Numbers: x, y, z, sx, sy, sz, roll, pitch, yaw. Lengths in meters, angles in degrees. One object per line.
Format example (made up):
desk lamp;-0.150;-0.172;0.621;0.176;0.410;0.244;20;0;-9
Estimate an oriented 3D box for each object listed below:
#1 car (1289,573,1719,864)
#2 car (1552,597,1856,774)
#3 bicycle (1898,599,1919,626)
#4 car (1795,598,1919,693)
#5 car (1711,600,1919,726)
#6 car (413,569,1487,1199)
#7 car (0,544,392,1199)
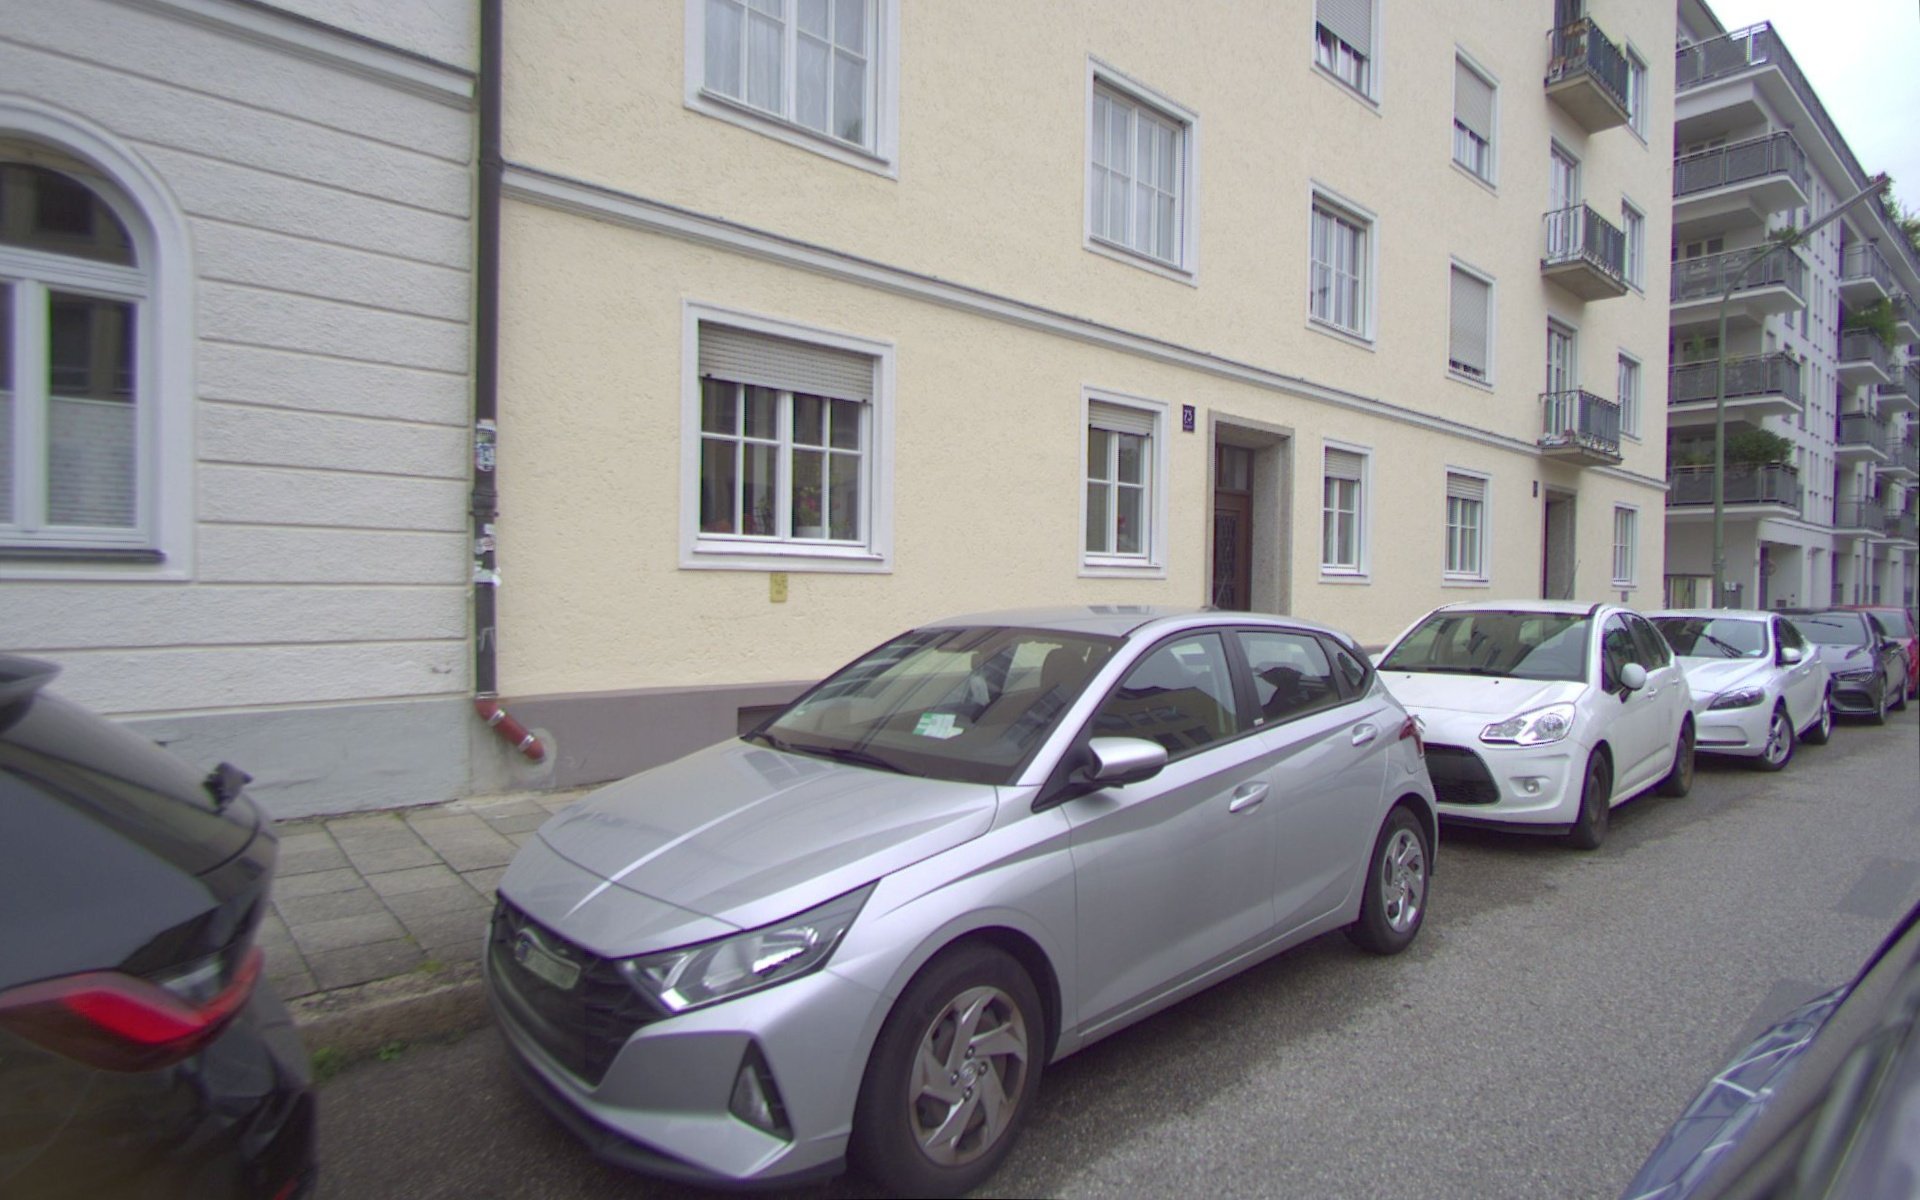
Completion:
car;4.148;0.641;7.418;3.926;1.563;1.652;1;0;-44
car;7.759;0.710;10.388;4.220;1.448;1.727;0;0;-42
bicycle;41.368;0.526;44.022;1.778;1.111;0.570;0;4;-40
car;15.761;0.715;17.413;3.691;1.448;1.657;1;0;-42
car;12.038;0.749;14.025;4.535;1.448;1.775;0;0;-42
car;0.374;0.680;3.944;4.117;1.468;1.726;0;0;-43
car;-3.189;0.646;0.692;4.597;1.468;1.878;0;0;-42
